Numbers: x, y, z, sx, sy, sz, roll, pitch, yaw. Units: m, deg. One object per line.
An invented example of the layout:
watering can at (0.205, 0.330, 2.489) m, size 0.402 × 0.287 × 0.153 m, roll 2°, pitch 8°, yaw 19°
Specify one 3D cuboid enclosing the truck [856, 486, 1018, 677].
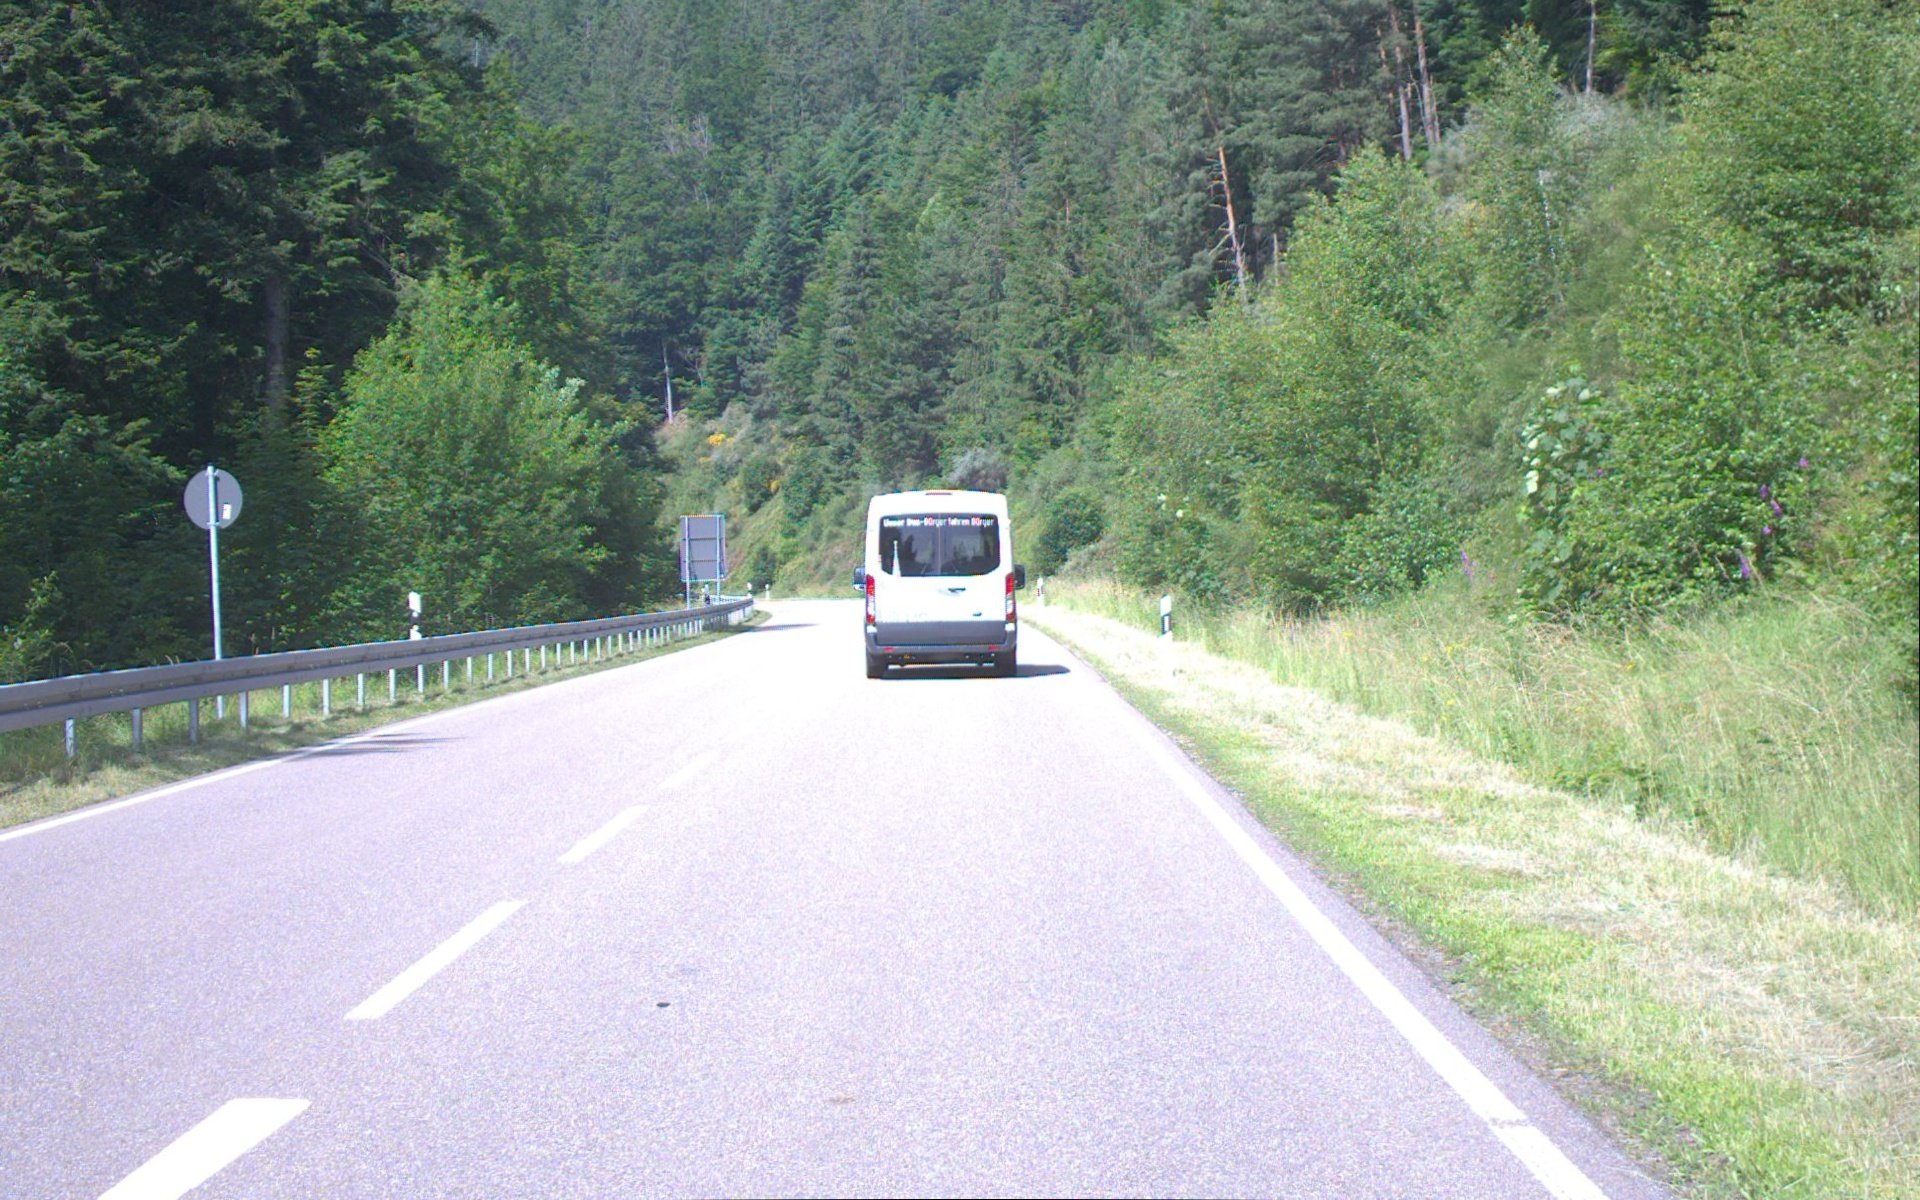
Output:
truck at (-0.331, -0.246, 46.765) m, size 2.083 × 2.451 × 4.875 m, roll 0°, pitch 0°, yaw -1°
